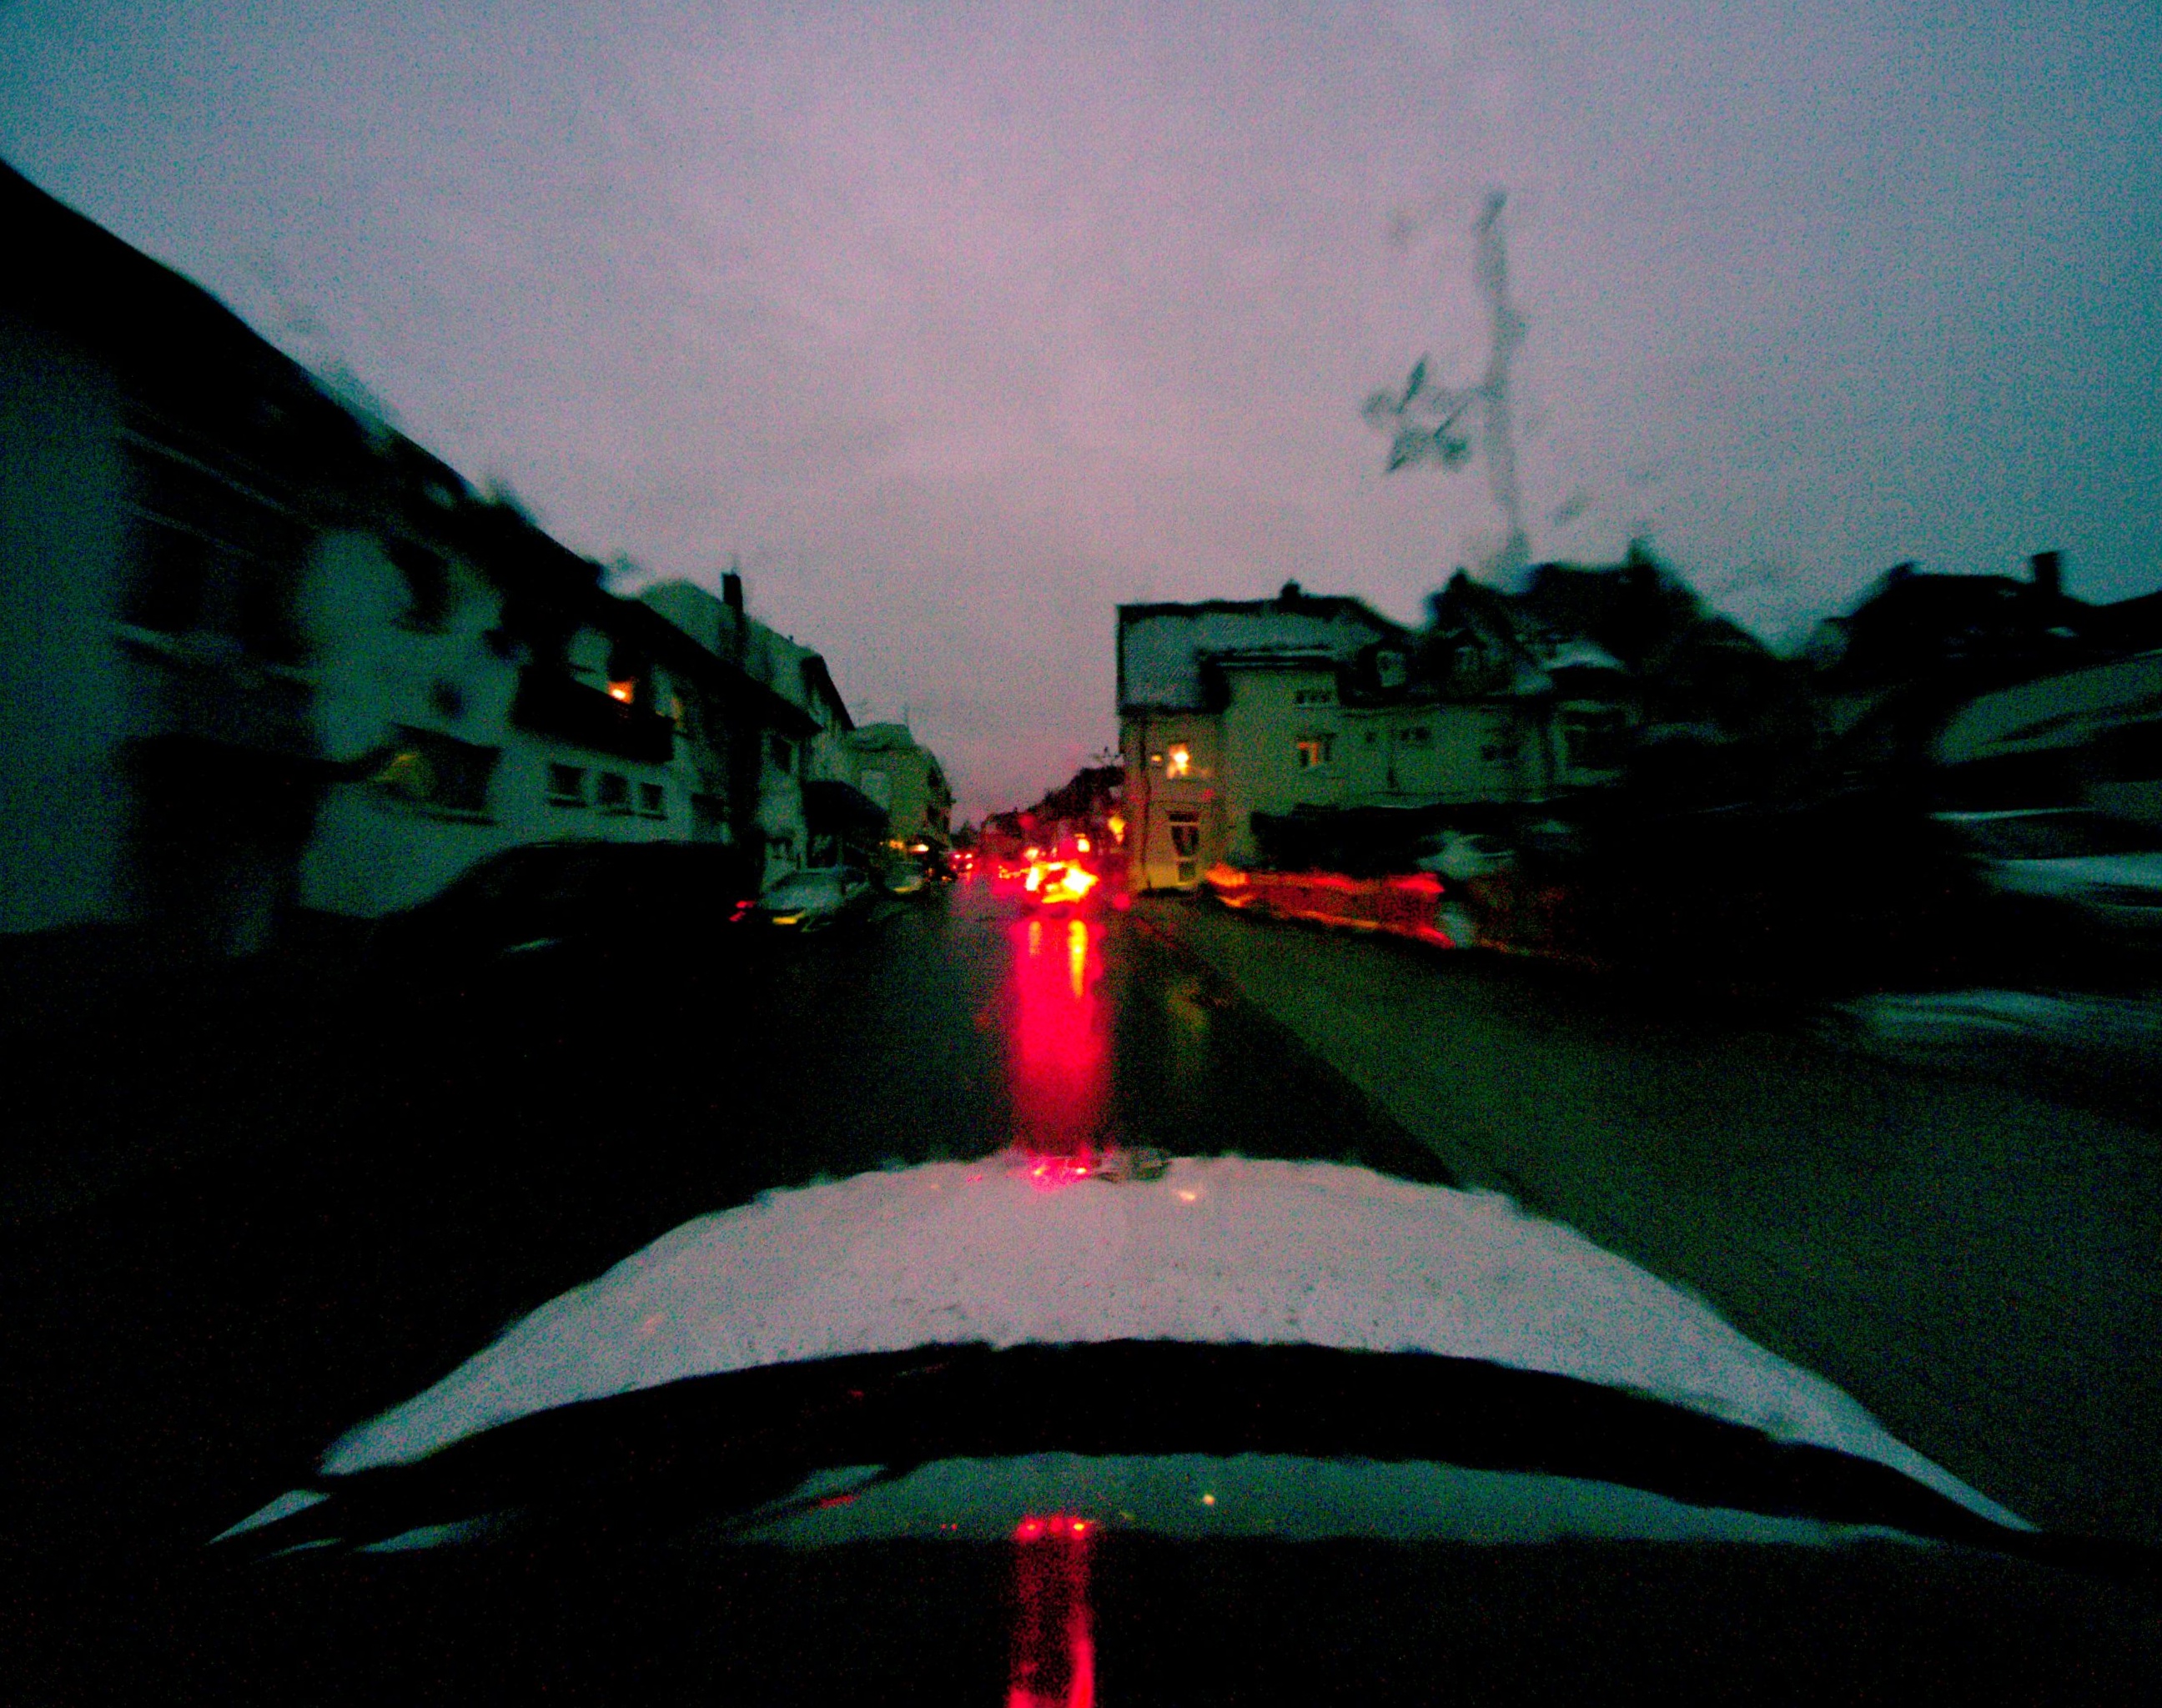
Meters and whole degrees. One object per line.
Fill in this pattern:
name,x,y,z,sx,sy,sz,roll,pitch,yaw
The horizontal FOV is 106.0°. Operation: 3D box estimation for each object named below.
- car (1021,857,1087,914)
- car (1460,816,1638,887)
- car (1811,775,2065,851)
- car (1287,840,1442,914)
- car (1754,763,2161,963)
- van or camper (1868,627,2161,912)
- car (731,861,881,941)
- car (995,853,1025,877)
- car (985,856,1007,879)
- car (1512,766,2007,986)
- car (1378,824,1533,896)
car,-0.892,0.879,24.488,1.811,1.533,3.993,-1,0,-5
car,11.552,-0.065,20.533,1.817,1.462,4.548,-4,0,0
car,19.675,-0.860,18.997,1.878,1.462,3.929,-4,0,4
car,6.361,0.488,18.729,1.886,1.462,3.623,-2,0,-8
car,9.793,0.066,8.637,1.984,1.611,4.179,-4,-2,5
van or camper,12.933,-1.015,8.410,2.646,3.047,6.725,-5,0,-3
car,-6.240,0.988,19.096,1.906,1.529,4.546,2,0,0
car,-4.945,0.742,56.479,1.991,1.588,3.992,-1,0,-6
car,-8.390,1.312,80.840,1.989,2.202,3.995,-1,-1,-3
car,6.989,0.204,9.195,1.986,1.765,4.353,-4,0,3
car,8.852,0.143,19.590,1.719,1.462,3.626,-4,0,-6
